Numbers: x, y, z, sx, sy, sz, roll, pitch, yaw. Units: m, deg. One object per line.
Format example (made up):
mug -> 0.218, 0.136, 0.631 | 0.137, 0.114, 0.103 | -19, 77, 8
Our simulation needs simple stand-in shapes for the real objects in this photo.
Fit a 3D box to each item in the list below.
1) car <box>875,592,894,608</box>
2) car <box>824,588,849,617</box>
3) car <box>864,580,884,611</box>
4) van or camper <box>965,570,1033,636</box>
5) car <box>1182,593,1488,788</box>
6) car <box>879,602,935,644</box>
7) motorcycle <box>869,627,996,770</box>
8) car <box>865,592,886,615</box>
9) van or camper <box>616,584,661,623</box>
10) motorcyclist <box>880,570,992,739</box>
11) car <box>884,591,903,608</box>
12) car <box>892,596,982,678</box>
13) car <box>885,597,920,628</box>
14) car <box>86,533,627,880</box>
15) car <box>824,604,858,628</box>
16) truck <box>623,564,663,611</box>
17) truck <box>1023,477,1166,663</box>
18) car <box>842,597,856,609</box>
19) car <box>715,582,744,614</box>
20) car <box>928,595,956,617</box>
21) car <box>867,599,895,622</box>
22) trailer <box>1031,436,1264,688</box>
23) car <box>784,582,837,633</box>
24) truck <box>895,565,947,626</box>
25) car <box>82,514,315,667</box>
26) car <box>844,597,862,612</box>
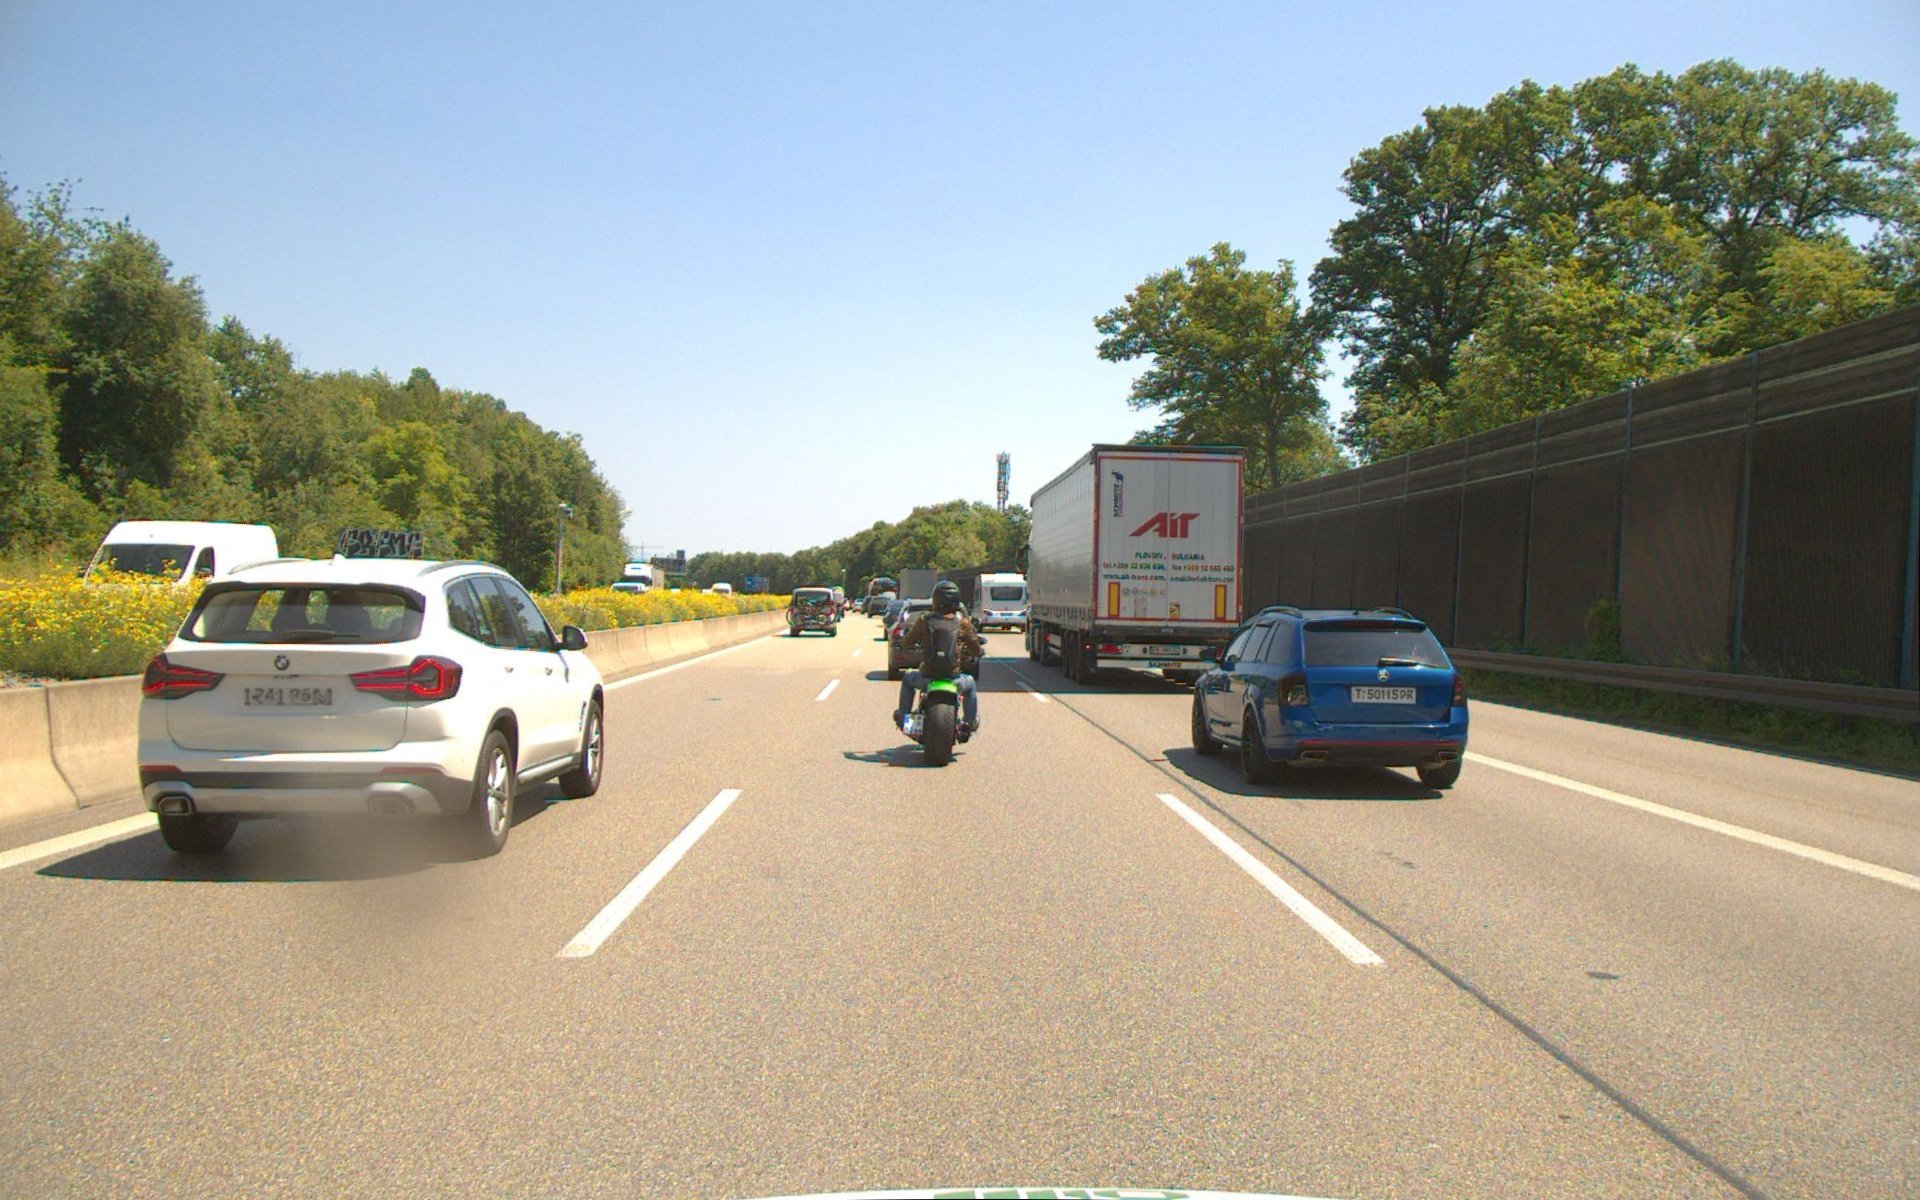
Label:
car -> -9.133, 0.035, 200.274 | 2.066, 1.909, 3.995 | 1, -1, -5
car -> -9.200, 0.208, 123.468 | 1.756, 2.049, 3.639 | 1, -1, -4
car -> -11.124, -0.561, 214.243 | 2.092, 3.929, 8.132 | 1, 0, -6
van or camper -> 1.718, 0.185, 75.586 | 2.631, 2.862, 6.799 | 1, -1, -3
car -> 3.228, 0.746, 15.125 | 1.617, 1.509, 4.479 | 1, -1, -2
car -> -1.948, 0.847, 60.044 | 1.954, 1.455, 3.844 | 1, -1, -3
motorcycle -> -0.205, 0.875, 15.690 | 0.944, 1.168, 2.813 | 1, 0, 4
car -> -7.871, 0.328, 154.235 | 1.874, 2.049, 3.687 | 1, -1, -4
van or camper -> -17.037, 0.186, 87.730 | 1.658, 2.048, 4.211 | 1, 0, -1
motorcyclist -> -0.195, 0.501, 15.654 | 0.881, 1.501, 1.873 | 1, -1, 4
car -> -7.843, -0.055, 194.879 | 2.066, 1.909, 3.996 | 1, -1, -5
car -> -0.481, 0.714, 32.138 | 1.629, 1.478, 3.867 | 1, -1, -2
car -> -3.033, 0.655, 86.849 | 1.744, 1.579, 3.583 | 1, 0, -3
car -> -3.506, 0.542, 10.747 | 1.826, 1.724, 4.954 | 1, 0, -2
car -> -7.314, 0.977, 101.923 | 1.954, 1.411, 3.997 | 1, -1, -3
truck -> -29.531, -1.105, 154.150 | 2.906, 4.179, 6.082 | 1, -1, -4
truck -> 3.181, -0.676, 40.707 | 2.827, 4.218, 5.984 | 1, 0, -2
car -> -14.756, 0.434, 219.861 | 1.796, 1.522, 3.739 | 1, -1, -5
car -> -21.975, -0.177, 158.037 | 2.027, 2.947, 7.458 | 1, 0, -3
car -> -1.366, 0.479, 125.395 | 1.954, 1.601, 3.997 | 1, -1, -3
car -> -5.910, 0.778, 123.377 | 1.954, 1.669, 3.996 | 1, -1, -4
trailer -> 3.376, -0.619, 34.082 | 2.827, 4.109, 13.790 | 1, 0, -2
car -> -5.736, 0.328, 64.000 | 1.861, 1.906, 4.409 | 1, -1, -3
truck -> -3.488, -0.294, 144.305 | 3.730, 5.047, 8.937 | 1, -1, -6
car -> -15.124, -0.175, 33.311 | 2.156, 2.789, 5.745 | 1, 0, -2
car -> -11.594, 0.510, 178.769 | 1.795, 1.522, 3.742 | 1, -1, -2
